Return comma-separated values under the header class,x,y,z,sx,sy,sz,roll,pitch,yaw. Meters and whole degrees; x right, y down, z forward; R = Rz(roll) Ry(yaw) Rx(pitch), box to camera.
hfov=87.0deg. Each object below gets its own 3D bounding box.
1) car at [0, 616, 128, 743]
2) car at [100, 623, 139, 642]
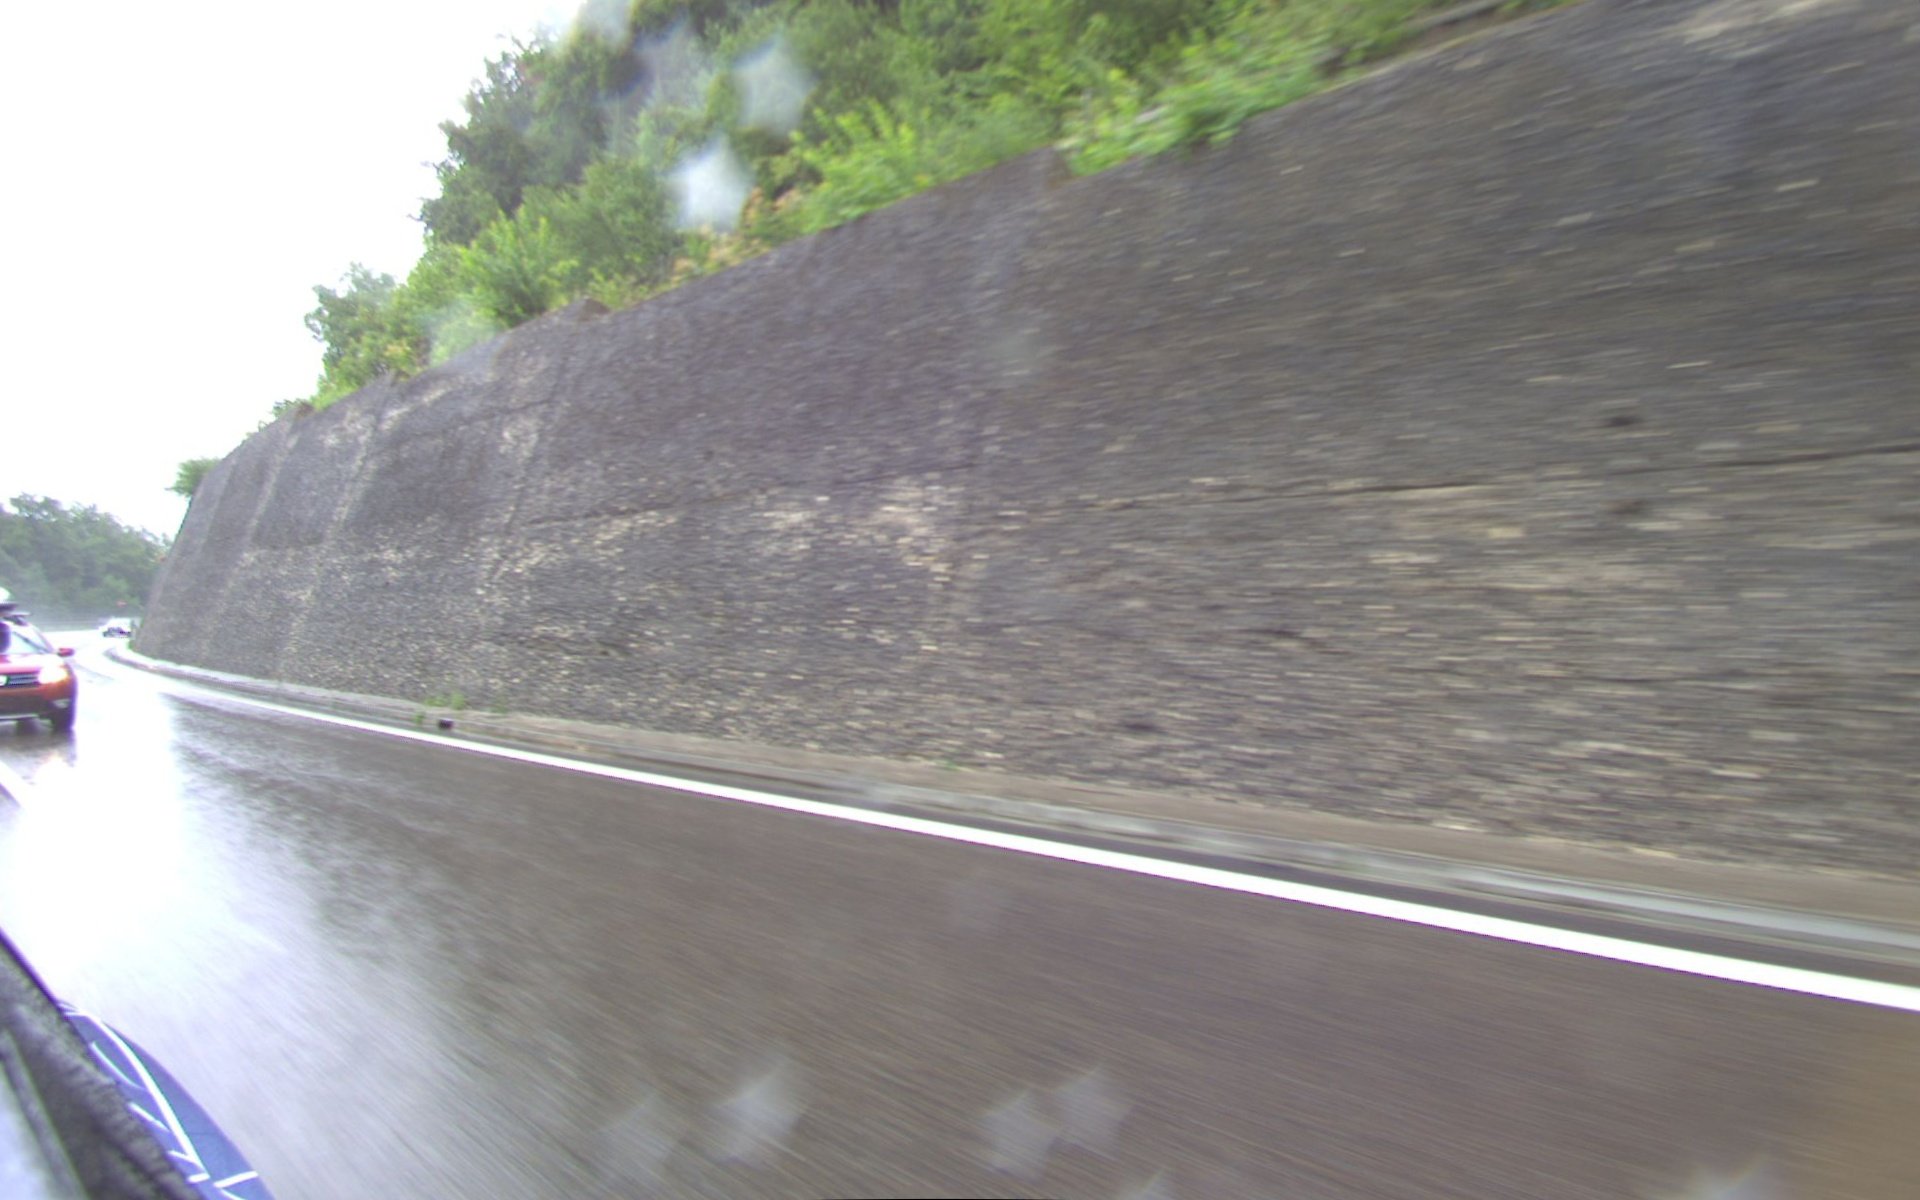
class,x,y,z,sx,sy,sz,roll,pitch,yaw
car,-14.120,1.067,14.301,5.487,1.570,2.333,-2,-3,36
car,-67.920,2.598,81.809,1.713,1.412,4.012,0,-1,-30
